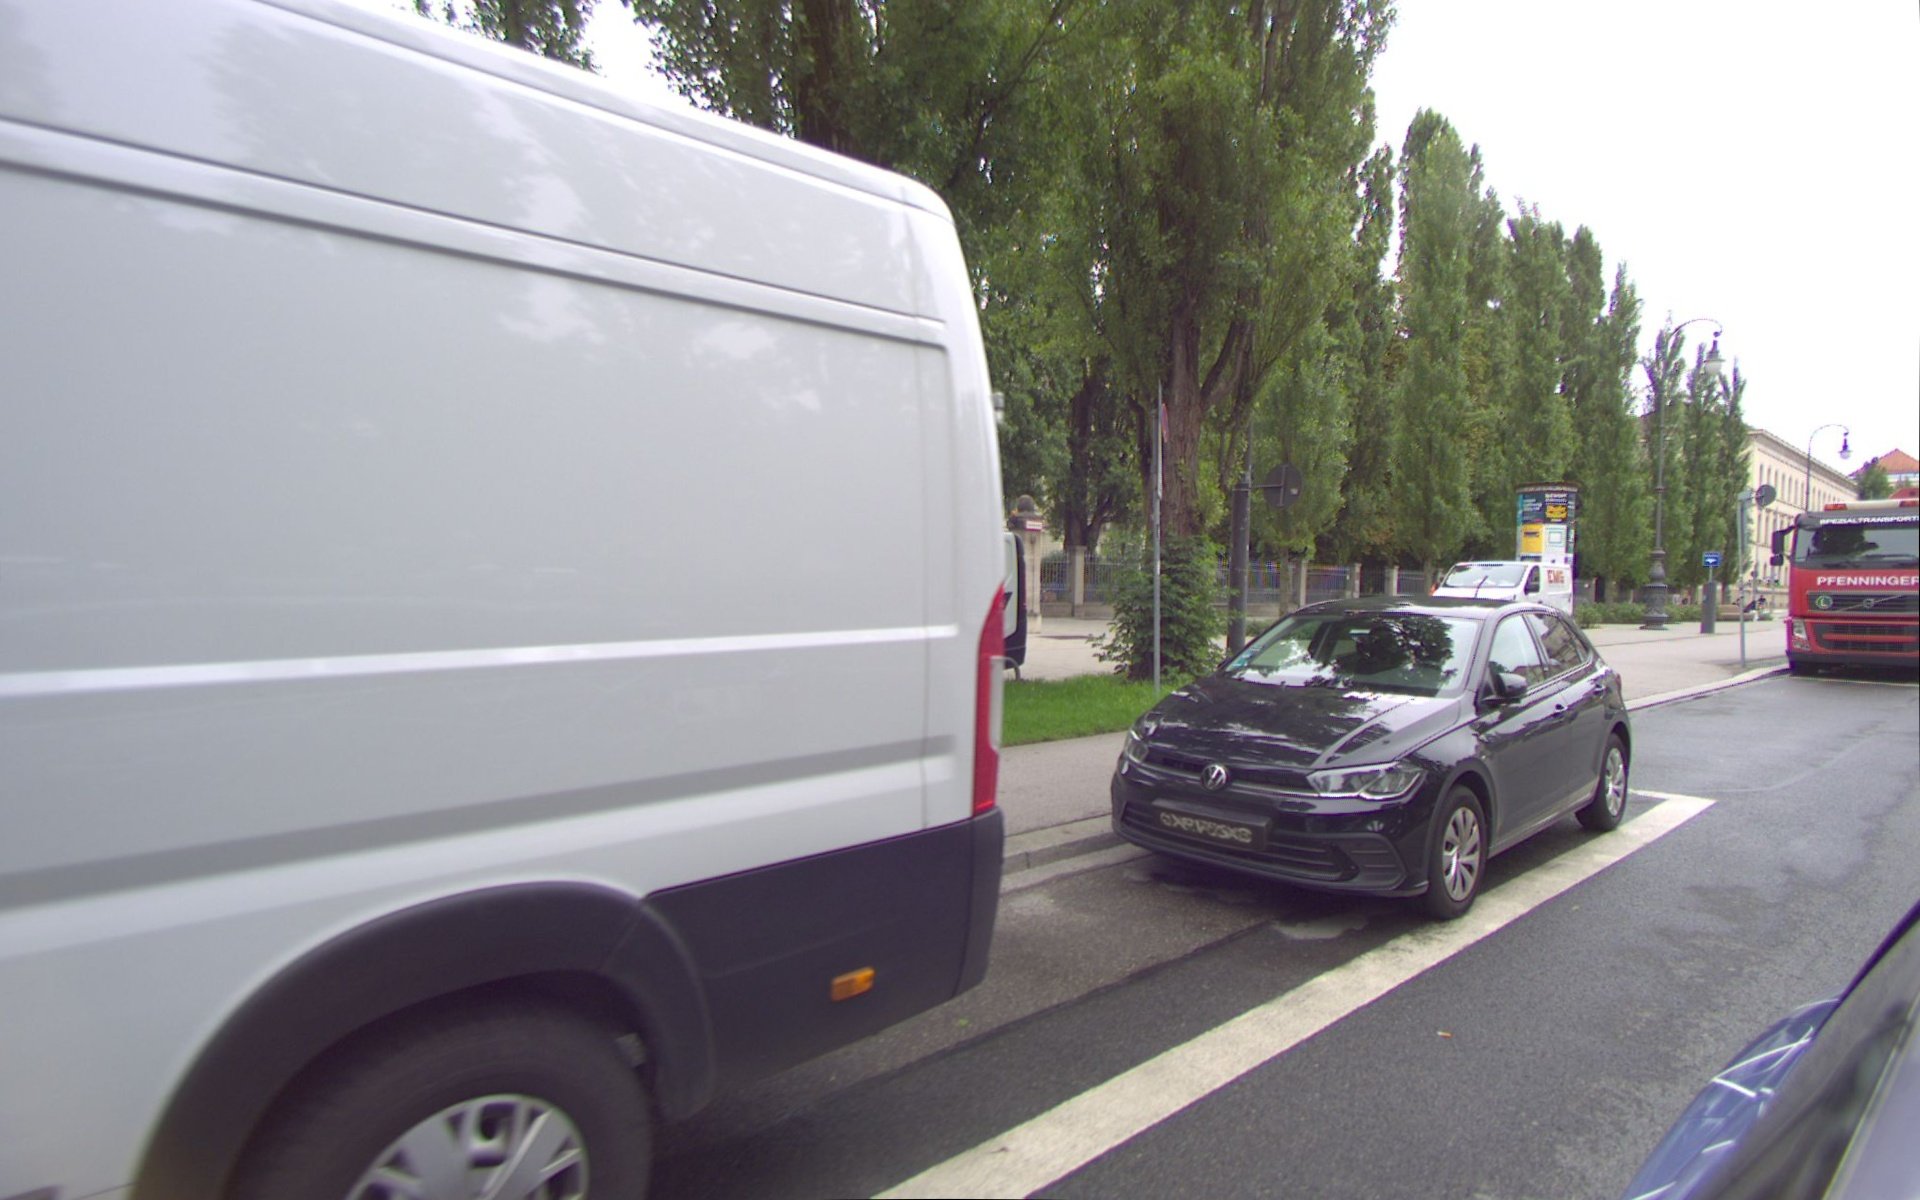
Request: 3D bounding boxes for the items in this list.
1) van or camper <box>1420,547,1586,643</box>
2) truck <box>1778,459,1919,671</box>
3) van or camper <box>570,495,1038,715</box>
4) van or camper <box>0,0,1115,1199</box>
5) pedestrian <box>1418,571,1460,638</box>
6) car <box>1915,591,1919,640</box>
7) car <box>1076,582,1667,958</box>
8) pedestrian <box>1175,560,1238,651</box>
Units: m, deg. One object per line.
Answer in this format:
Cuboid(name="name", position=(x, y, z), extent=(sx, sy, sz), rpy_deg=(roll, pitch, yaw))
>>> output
Cuboid(name="van or camper", position=(12.929, -0.126, 23.955), extent=(4.902, 2.039, 2.006), rpy_deg=(0, 0, -43))
Cuboid(name="truck", position=(19.757, -0.596, 20.960), extent=(10.103, 3.609, 2.849), rpy_deg=(0, 1, -42))
Cuboid(name="van or camper", position=(-1.550, 0.034, 11.424), extent=(4.951, 1.958, 1.978), rpy_deg=(0, 0, -42))
Cuboid(name="van or camper", position=(-2.659, 0.123, 1.427), extent=(6.306, 2.572, 2.142), rpy_deg=(0, 1, -42))
Cuboid(name="pedestrian", position=(12.554, 0.106, 26.521), extent=(0.742, 1.715, 0.717), rpy_deg=(1, 1, -42))
Cuboid(name="car", position=(30.218, 0.484, 30.434), extent=(4.362, 1.409, 1.845), rpy_deg=(0, 2, -42))
Cuboid(name="car", position=(2.602, 0.643, 5.896), extent=(3.932, 1.438, 1.678), rpy_deg=(0, 2, -43))
Cuboid(name="pedestrian", position=(4.560, 0.093, 18.717), extent=(0.825, 1.628, 0.774), rpy_deg=(1, 1, -39))
